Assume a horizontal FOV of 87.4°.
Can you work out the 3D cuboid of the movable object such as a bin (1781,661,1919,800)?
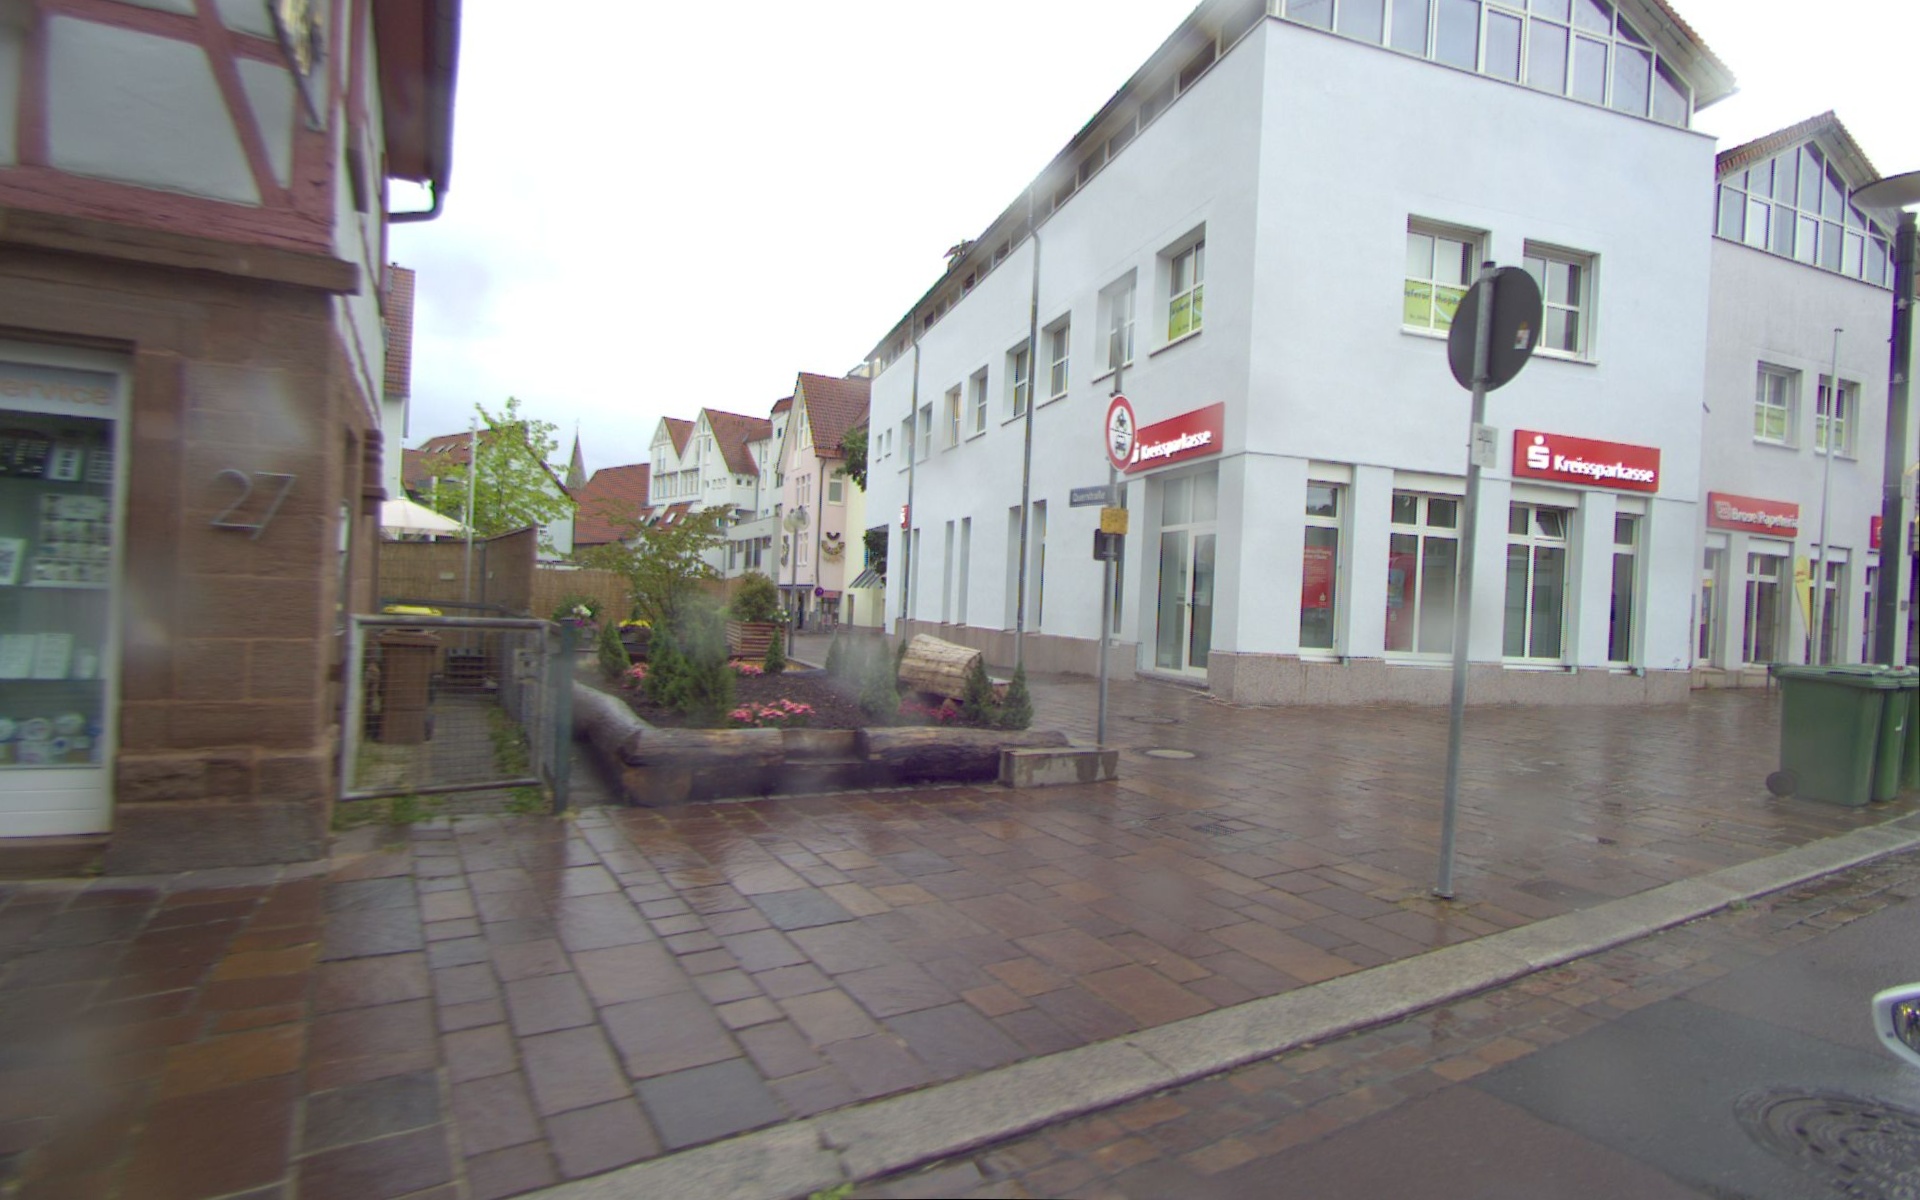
[{"bbox_3d":[7.572,1.083,8.554,0.518,1.064,0.761,3,-1,-34],"label":"movable object such as a bin"}]

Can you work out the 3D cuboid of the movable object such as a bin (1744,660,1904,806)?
[{"bbox_3d":[7.048,1.052,8.205,0.692,1.064,0.813,3,-1,-34],"label":"movable object such as a bin"}]

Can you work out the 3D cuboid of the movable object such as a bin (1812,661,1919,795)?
[{"bbox_3d":[8.255,1.123,9.013,0.518,1.065,0.761,3,2,-34],"label":"movable object such as a bin"}]
